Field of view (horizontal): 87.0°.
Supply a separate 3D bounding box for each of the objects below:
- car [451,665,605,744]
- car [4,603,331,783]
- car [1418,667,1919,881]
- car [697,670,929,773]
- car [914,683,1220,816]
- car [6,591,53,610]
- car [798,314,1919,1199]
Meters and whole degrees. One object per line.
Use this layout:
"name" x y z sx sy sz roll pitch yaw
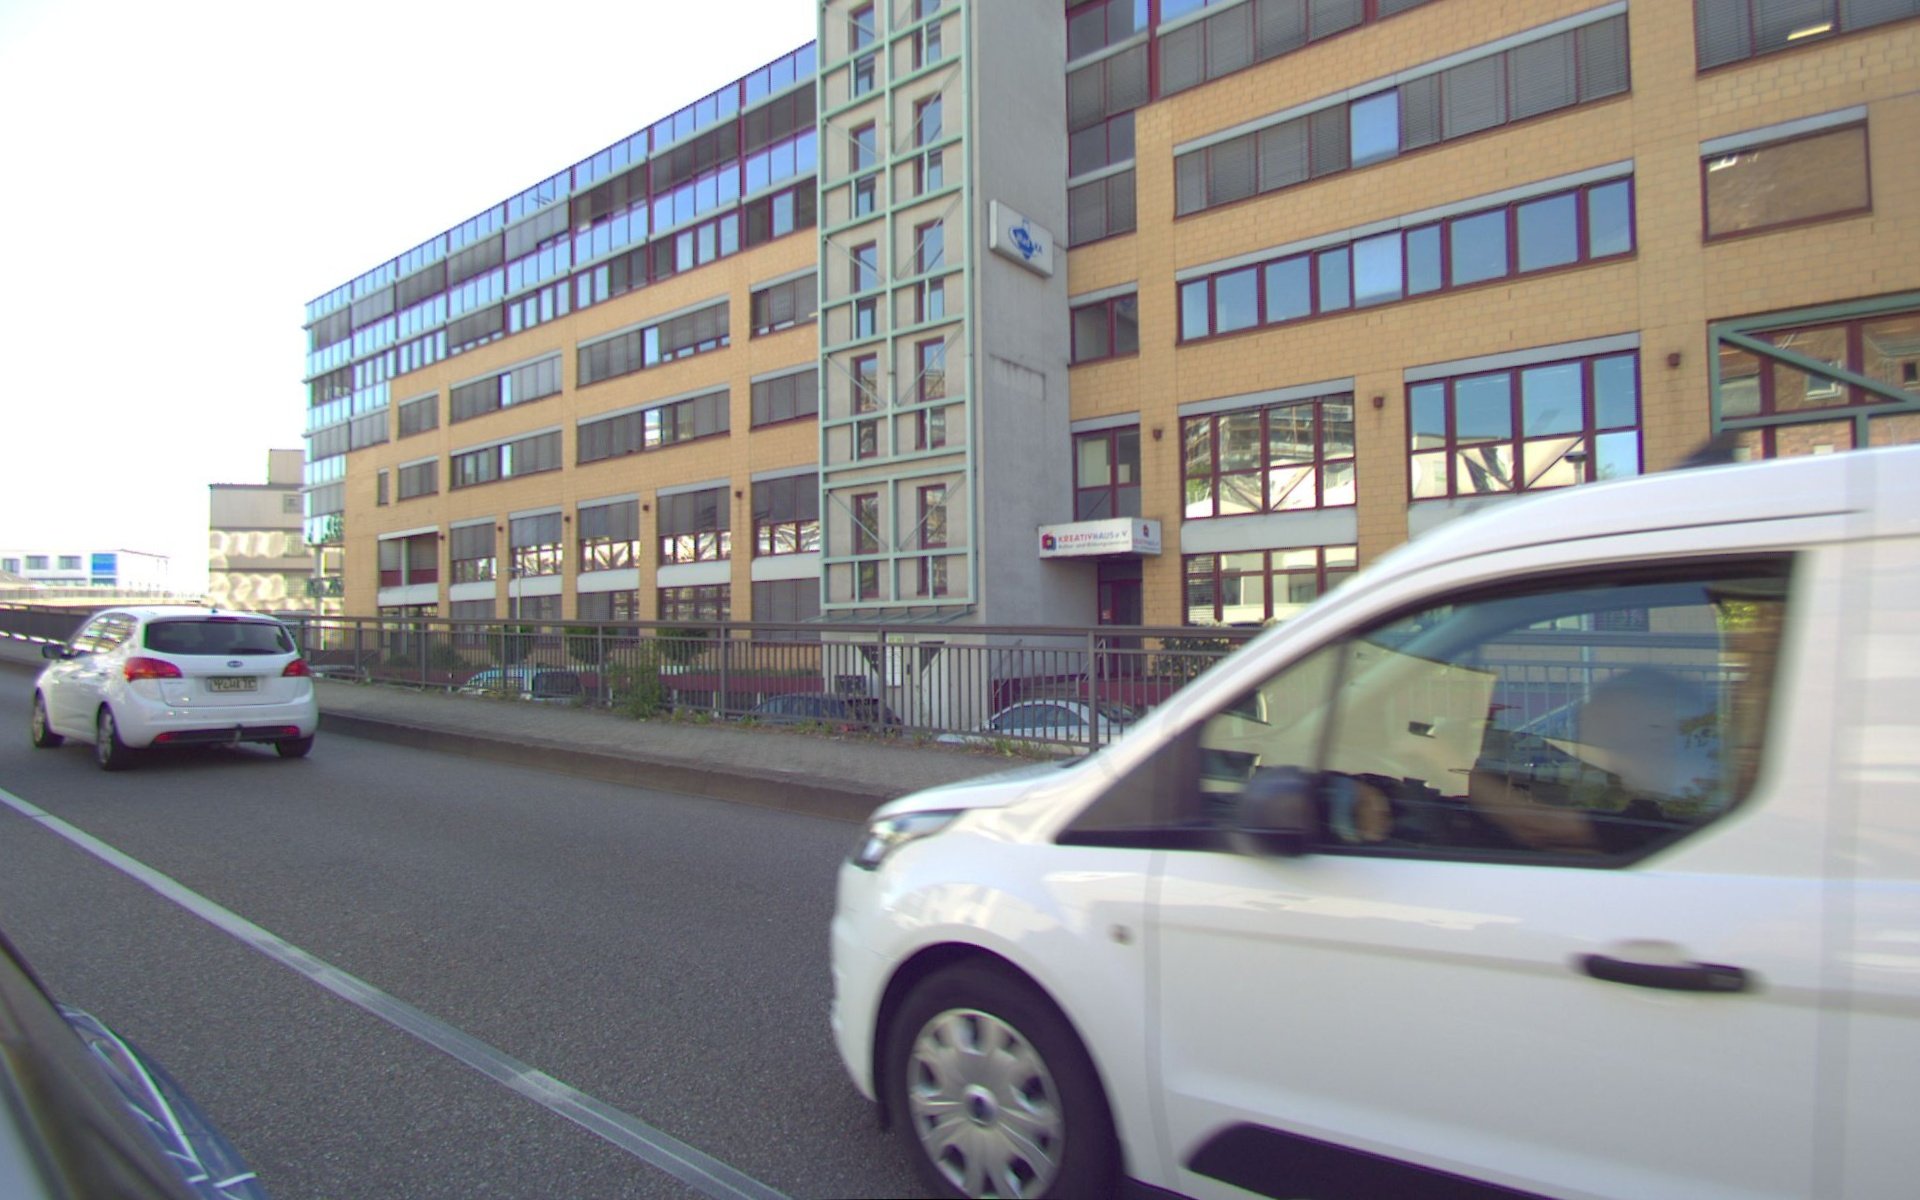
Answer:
"car" -10.825 2.524 25.266 3.997 1.737 1.973 -3 -3 40
"car" -8.702 0.902 11.016 3.993 1.616 1.803 -1 -3 37
"car" 7.625 1.662 10.790 4.678 1.771 1.933 -2 -2 36
"car" -2.824 2.176 18.977 4.349 1.616 1.803 -2 -3 37
"car" 1.538 2.149 15.468 4.349 1.616 1.803 -2 -3 37
"car" -83.812 0.028 91.200 1.794 1.616 4.013 0 -1 -22
"car" 2.151 0.536 1.797 5.111 1.815 1.793 -2 -3 37
